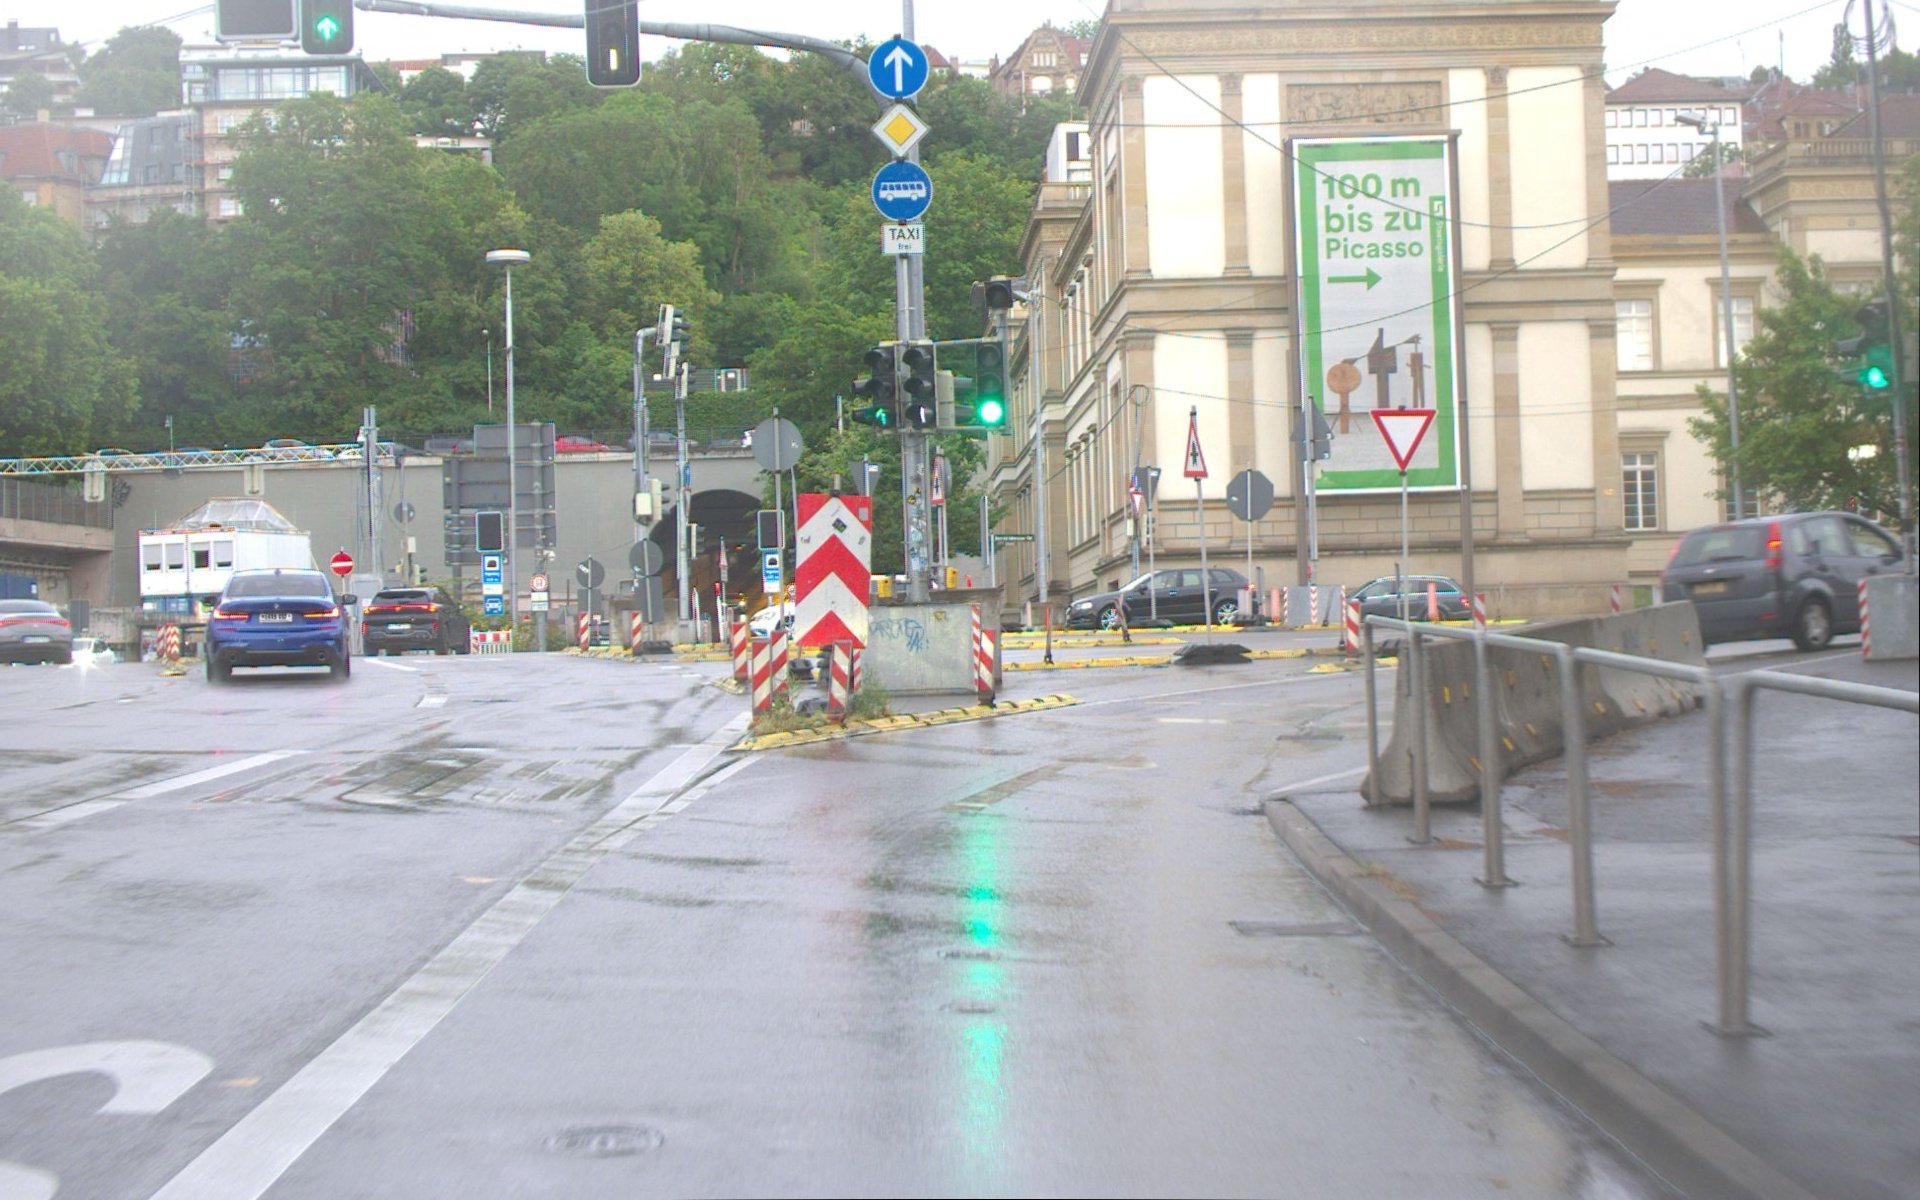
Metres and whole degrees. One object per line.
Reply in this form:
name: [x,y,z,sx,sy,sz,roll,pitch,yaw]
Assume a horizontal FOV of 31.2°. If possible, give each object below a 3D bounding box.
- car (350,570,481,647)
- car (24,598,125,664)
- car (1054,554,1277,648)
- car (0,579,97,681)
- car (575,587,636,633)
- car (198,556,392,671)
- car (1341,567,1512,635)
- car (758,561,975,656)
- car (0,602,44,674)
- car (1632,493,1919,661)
car: [-12.121,0.161,76.799,1.994,1.628,3.999,1,1,5]
car: [-28.494,0.972,110.734,1.994,2.007,4.000,0,1,3]
car: [4.502,0.015,75.820,4.674,2.007,2.000,0,1,-5]
car: [-20.014,0.590,71.678,1.995,2.007,4.292,-1,2,-45]
car: [-11.076,0.306,107.560,1.493,1.349,4.000,1,1,0]
car: [-8.710,0.156,45.316,1.993,1.433,4.000,0,0,-3]
car: [12.028,0.023,88.809,4.180,1.695,1.823,0,1,0]
car: [-2.078,0.166,75.195,4.625,2.007,2.000,0,1,-5]
car: [-28.994,1.113,102.661,1.994,2.007,4.000,0,1,3]
car: [8.856,-0.268,35.844,3.748,1.422,1.674,-7,4,-43]
